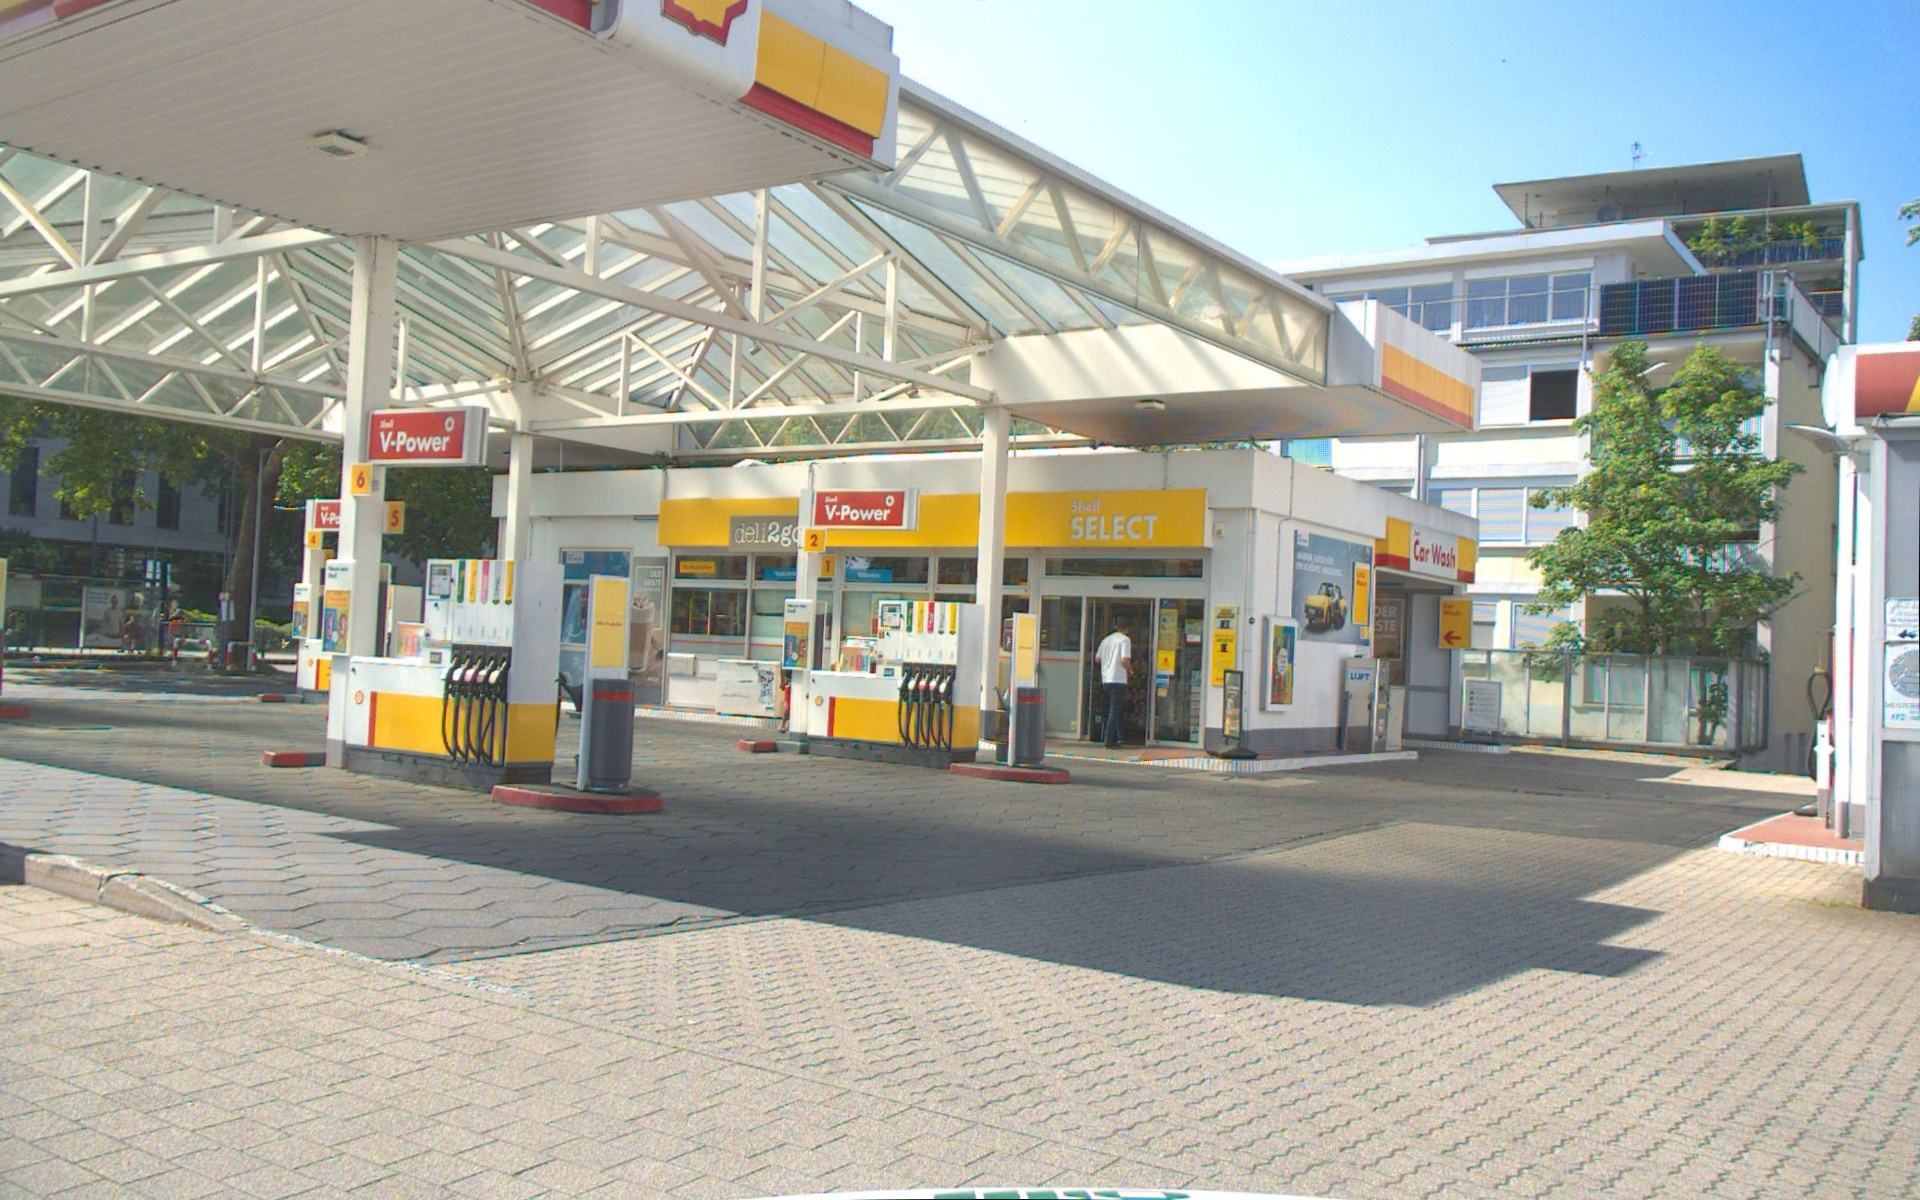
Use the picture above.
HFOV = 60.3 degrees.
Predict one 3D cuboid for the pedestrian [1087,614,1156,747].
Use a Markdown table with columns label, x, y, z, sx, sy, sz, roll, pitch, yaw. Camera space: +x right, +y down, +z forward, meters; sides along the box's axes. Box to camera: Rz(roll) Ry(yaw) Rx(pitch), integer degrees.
| label | x | y | z | sx | sy | sz | roll | pitch | yaw |
| --- | --- | --- | --- | --- | --- | --- | --- | --- | --- |
| pedestrian | 2.364 | 1.166 | 24.152 | 0.837 | 1.870 | 0.746 | 2 | -2 | 13 |

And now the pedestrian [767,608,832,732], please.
| label | x | y | z | sx | sy | sz | roll | pitch | yaw |
| --- | --- | --- | --- | --- | --- | --- | --- | --- | --- |
| pedestrian | -2.451 | 1.065 | 25.298 | 0.619 | 1.854 | 0.671 | 0 | -3 | 41 |
